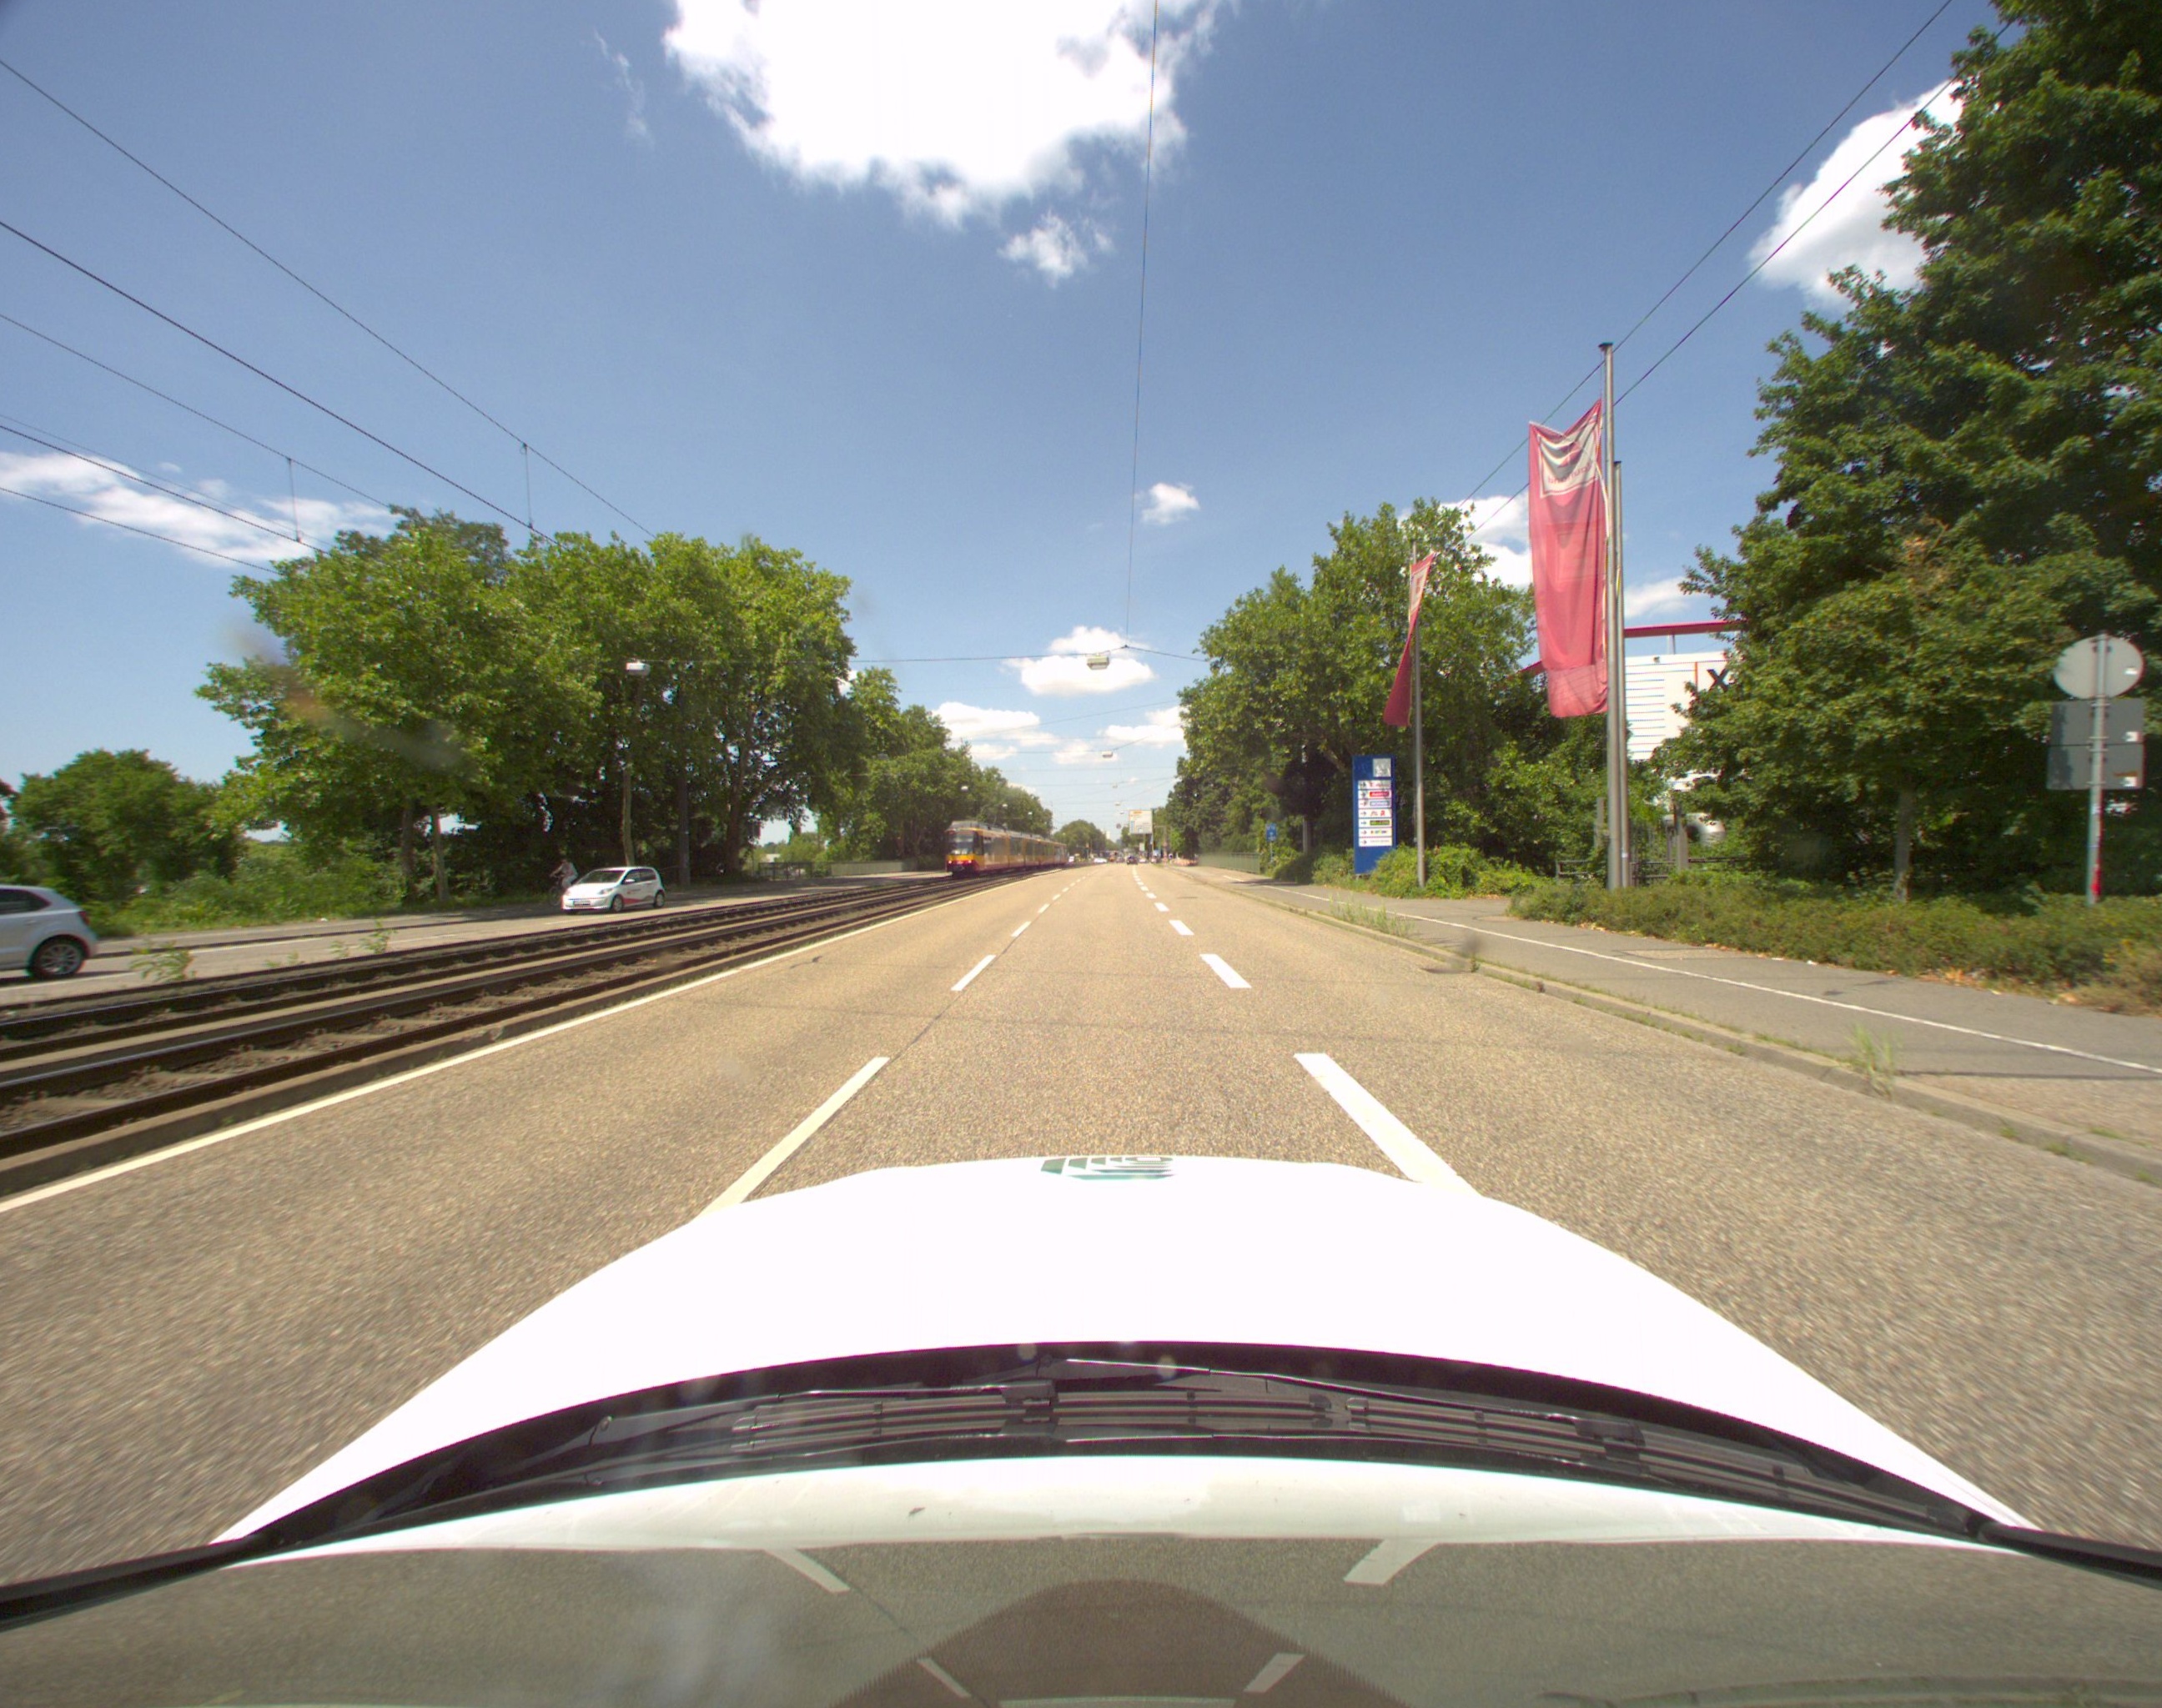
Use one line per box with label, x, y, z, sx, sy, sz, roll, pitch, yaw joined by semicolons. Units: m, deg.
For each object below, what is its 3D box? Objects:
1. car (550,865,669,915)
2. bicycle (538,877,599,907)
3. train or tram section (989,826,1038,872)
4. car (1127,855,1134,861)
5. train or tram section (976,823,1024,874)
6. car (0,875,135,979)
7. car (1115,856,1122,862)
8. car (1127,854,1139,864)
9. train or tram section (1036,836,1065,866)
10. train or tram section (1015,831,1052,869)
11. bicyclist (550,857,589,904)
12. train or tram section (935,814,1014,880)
car;-15.315;1.121;26.686;1.631;1.436;3.722;-3;0;1
bicycle;-18.278;1.329;29.101;0.619;0.979;2.059;1;0;8
train or tram section;-6.649;-0.462;82.641;3.036;4.267;14.045;-1;0;3
car;13.260;1.107;218.419;1.868;1.539;3.779;1;0;2
train or tram section;-7.117;-0.468;72.417;3.036;4.267;8.007;-1;0;2
car;-15.959;1.072;10.905;1.630;1.421;4.130;-2;0;2
car;10.910;1.489;235.673;1.835;1.550;3.778;1;0;1
car;9.103;0.848;142.859;1.892;1.805;3.977;1;0;1
train or tram section;-4.418;-0.369;120.838;3.025;4.141;13.992;-2;0;3
train or tram section;-5.573;-0.437;98.538;3.026;4.154;13.490;-2;0;2
bicyclist;-18.263;0.925;29.095;0.619;1.617;1.064;1;0;7
train or tram section;-7.652;-0.466;61.212;3.036;4.267;15.434;-1;0;3
